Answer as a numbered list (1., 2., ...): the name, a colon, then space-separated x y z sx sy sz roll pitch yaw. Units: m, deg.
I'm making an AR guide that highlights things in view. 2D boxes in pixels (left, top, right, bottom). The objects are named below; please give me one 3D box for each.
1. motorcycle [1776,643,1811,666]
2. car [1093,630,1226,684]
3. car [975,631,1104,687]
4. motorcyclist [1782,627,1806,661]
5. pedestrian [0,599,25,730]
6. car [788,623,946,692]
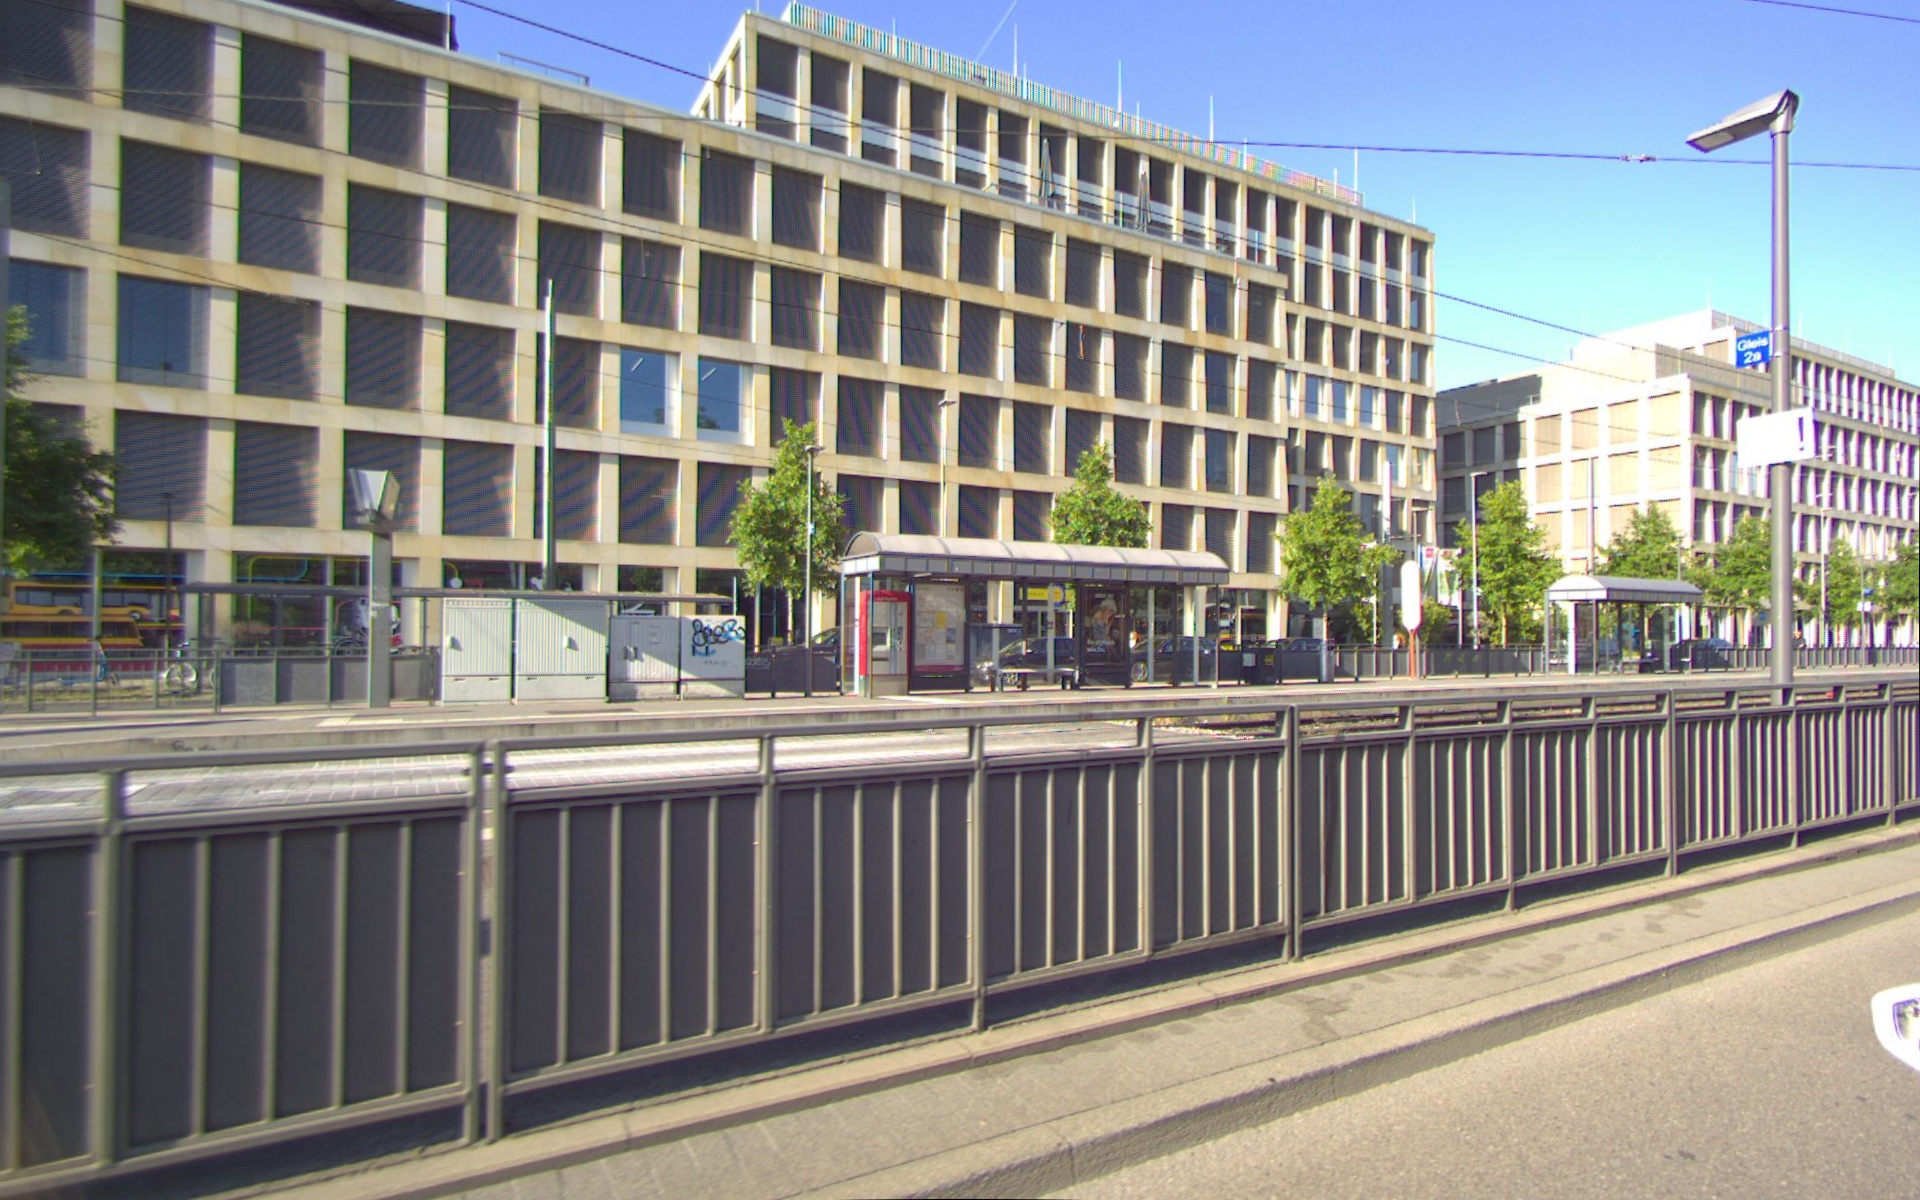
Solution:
1. motorcycle: 38.019 2.474 45.794 1.819 1.035 0.602 1 -2 -29
2. car: 6.550 1.829 32.899 3.951 1.684 1.985 1 -2 -29
3. car: 2.398 1.737 30.287 3.605 1.582 1.638 1 -2 -29
4. motorcyclist: 38.032 1.998 45.802 0.755 1.553 0.573 1 -2 -28
5. pedestrian: -12.836 0.824 12.963 0.921 1.666 0.791 1 -2 -28
6. car: -2.551 1.543 27.660 3.951 1.792 1.910 1 -2 -29
